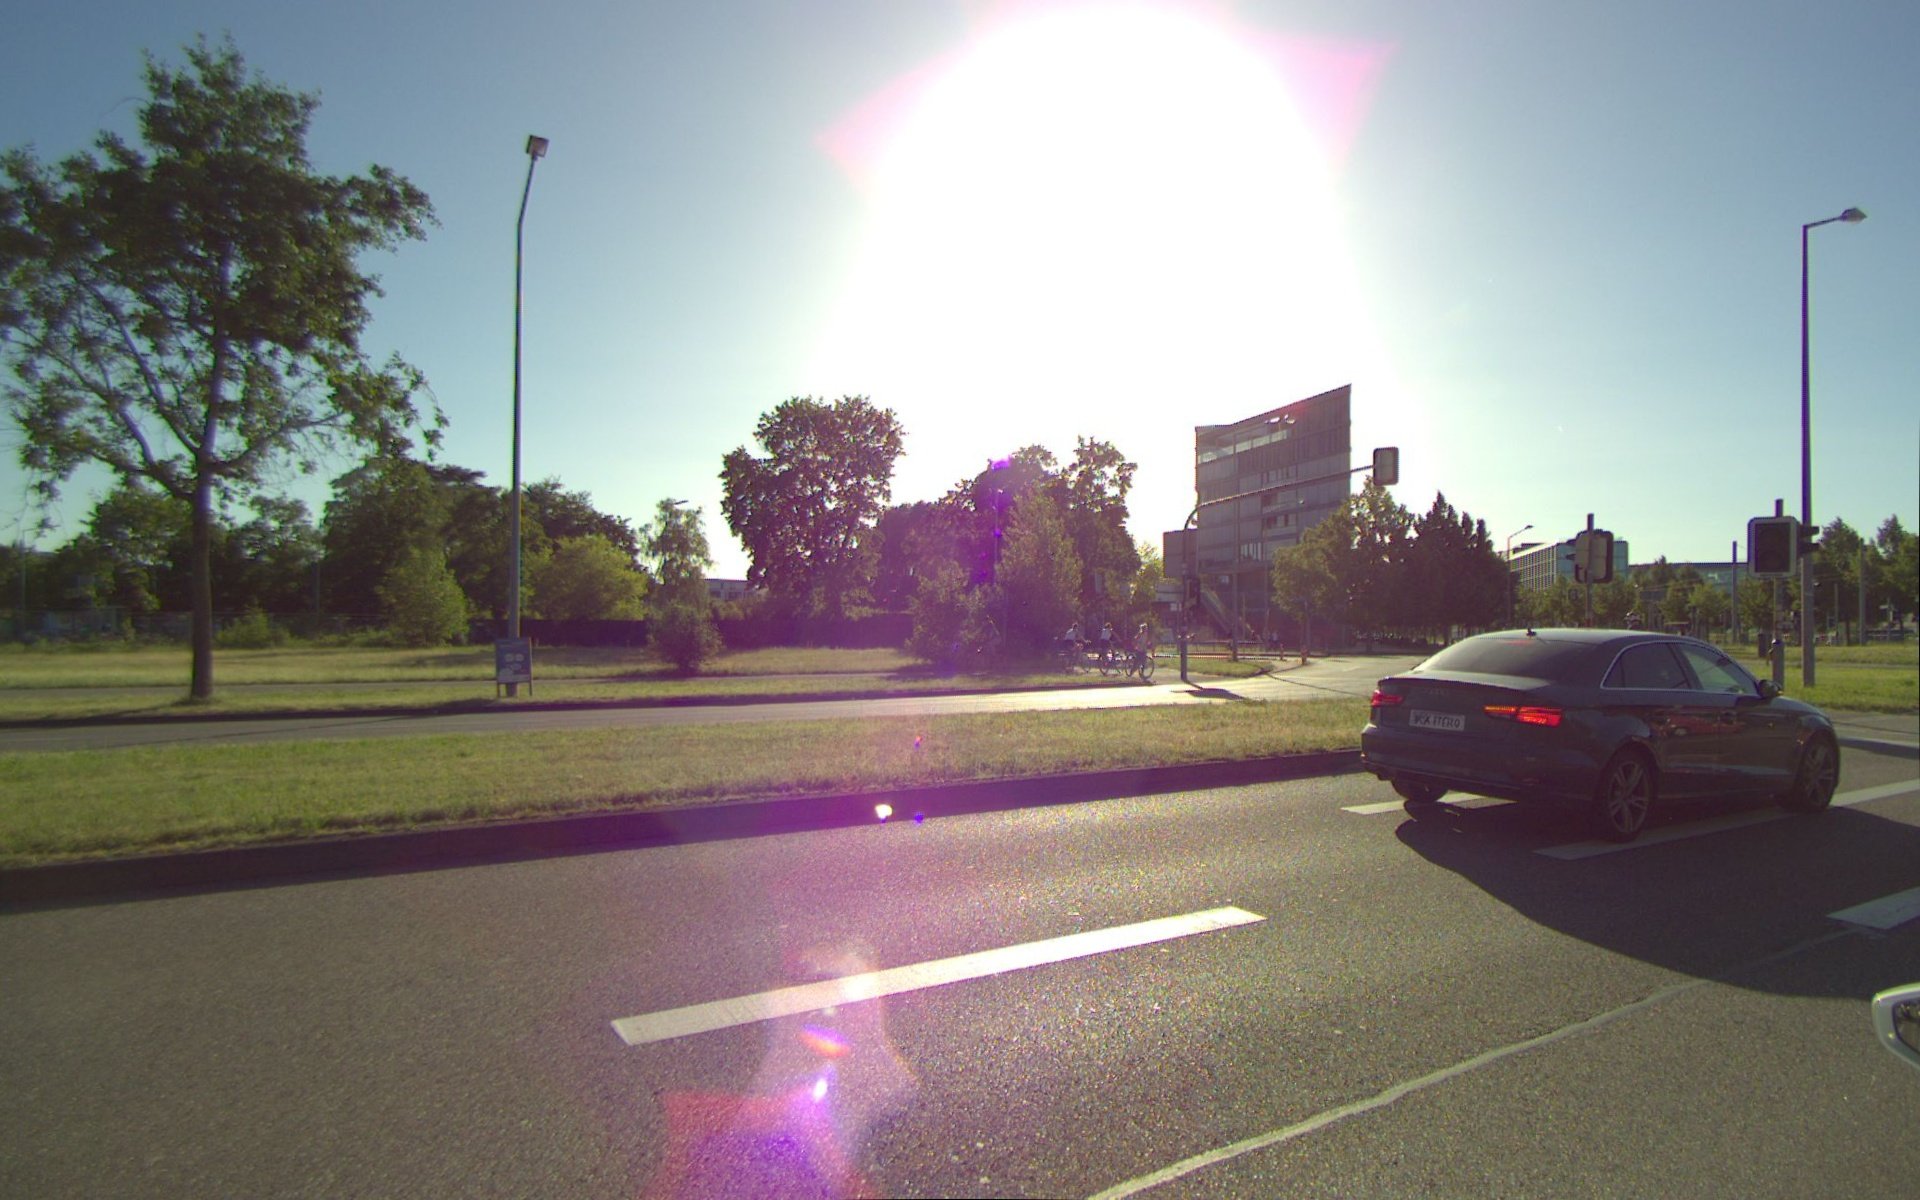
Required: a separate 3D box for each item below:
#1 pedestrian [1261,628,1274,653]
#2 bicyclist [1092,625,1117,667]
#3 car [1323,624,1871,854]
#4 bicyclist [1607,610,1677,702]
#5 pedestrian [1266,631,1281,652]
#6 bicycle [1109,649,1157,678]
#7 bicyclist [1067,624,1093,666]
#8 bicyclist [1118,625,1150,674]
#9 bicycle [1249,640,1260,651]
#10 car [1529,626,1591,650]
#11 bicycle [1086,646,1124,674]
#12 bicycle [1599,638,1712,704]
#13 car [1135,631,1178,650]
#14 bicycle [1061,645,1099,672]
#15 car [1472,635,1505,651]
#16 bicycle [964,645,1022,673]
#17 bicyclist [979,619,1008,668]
[{"bbox_3d":[24.960,3.287,81.455,0.937,2.032,0.582,1,-2,-42],"label":"pedestrian"},{"bbox_3d":[4.860,1.536,33.709,0.606,1.411,0.718,-1,-1,30],"label":"bicyclist"},{"bbox_3d":[5.112,0.927,7.969,4.303,1.398,1.754,2,-1,-27],"label":"car"},{"bbox_3d":[12.967,1.049,19.101,0.698,1.685,0.932,2,-2,-39],"label":"bicyclist"},{"bbox_3d":[24.300,3.214,77.924,0.872,1.651,0.757,-1,-2,40],"label":"pedestrian"},{"bbox_3d":[5.557,2.042,32.304,0.608,0.864,1.878,1,-2,-23],"label":"bicycle"},{"bbox_3d":[4.091,1.517,34.224,0.606,1.411,0.836,-1,-1,30],"label":"bicyclist"},{"bbox_3d":[5.582,1.571,32.267,0.608,1.537,0.920,1,-1,-23],"label":"bicyclist"},{"bbox_3d":[26.246,4.037,89.393,0.649,1.001,2.264,0,-2,9],"label":"bicycle"},{"bbox_3d":[41.681,2.627,69.812,4.277,1.561,1.992,1,-2,-32],"label":"car"},{"bbox_3d":[4.874,1.994,33.727,0.606,0.864,1.885,-1,-2,30],"label":"bicycle"},{"bbox_3d":[13.093,1.320,18.946,0.698,1.143,1.637,3,-2,-39],"label":"bicycle"},{"bbox_3d":[18.968,3.903,96.909,3.695,1.829,1.826,1,-2,-27],"label":"car"},{"bbox_3d":[4.098,1.976,34.227,0.606,0.864,1.885,-1,-2,30],"label":"bicycle"},{"bbox_3d":[62.157,5.032,118.195,2.413,1.808,5.017,0,-2,16],"label":"car"},{"bbox_3d":[1.084,1.894,32.507,1.864,0.864,0.488,1,-1,-26],"label":"bicycle"},{"bbox_3d":[1.073,1.409,32.508,0.840,1.584,0.430,1,-1,-26],"label":"bicyclist"}]
